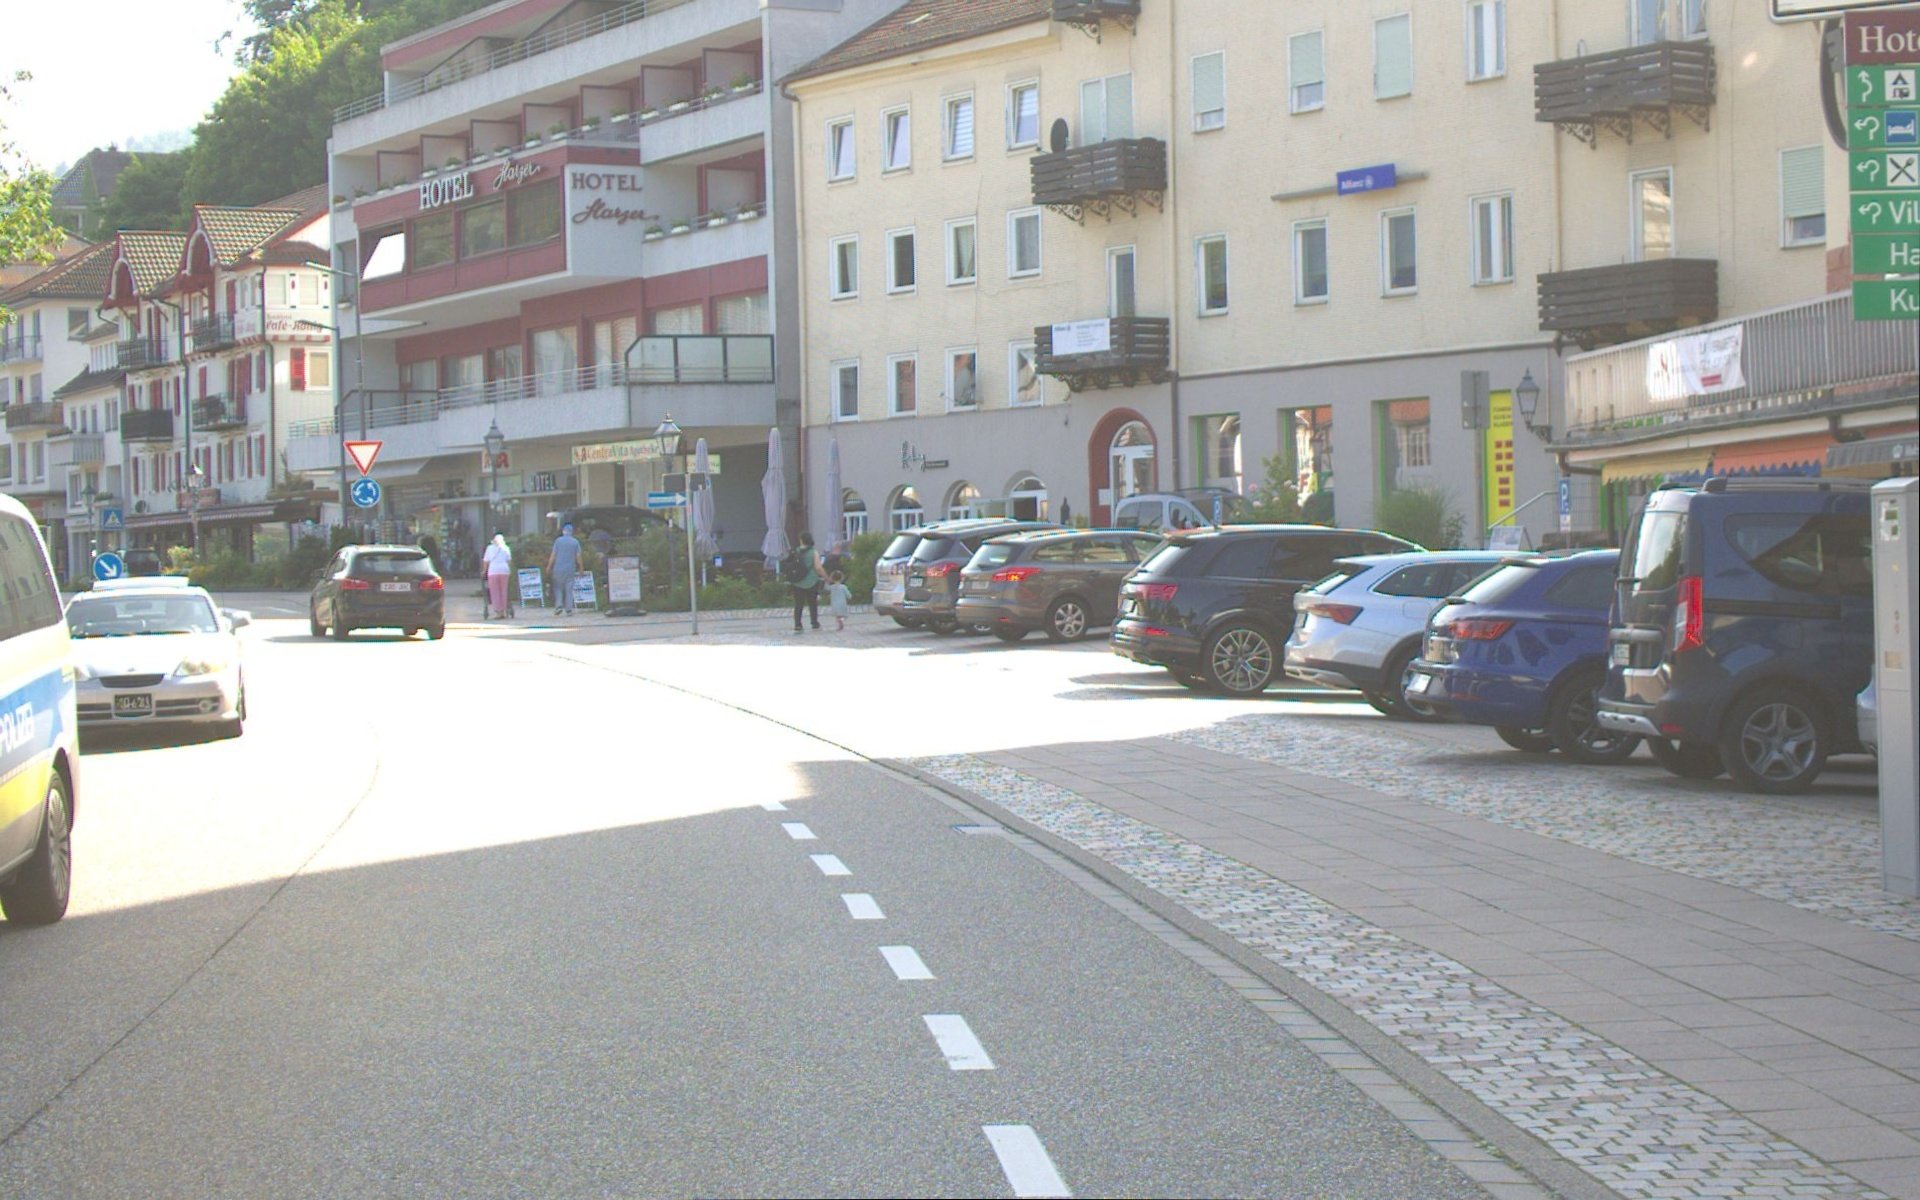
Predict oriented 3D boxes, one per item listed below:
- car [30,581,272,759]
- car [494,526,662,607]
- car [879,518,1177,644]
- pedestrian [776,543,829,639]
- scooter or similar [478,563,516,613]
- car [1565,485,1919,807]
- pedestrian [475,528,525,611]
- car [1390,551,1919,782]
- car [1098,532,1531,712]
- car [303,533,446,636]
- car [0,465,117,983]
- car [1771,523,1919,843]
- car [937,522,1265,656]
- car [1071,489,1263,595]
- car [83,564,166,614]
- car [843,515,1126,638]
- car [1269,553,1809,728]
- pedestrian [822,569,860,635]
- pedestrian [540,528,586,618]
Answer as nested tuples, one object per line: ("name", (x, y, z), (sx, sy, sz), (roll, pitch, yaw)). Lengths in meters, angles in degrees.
("car", (-7.105, 0.566, 30.510), (1.627, 1.366, 4.064), (-3, 1, -7))
("car", (-8.073, -0.711, 72.569), (3.163, 1.657, 1.595), (-1, 1, -25))
("car", (0.990, -0.307, 49.990), (3.860, 1.544, 1.773), (-4, 3, -24))
("pedestrian", (-2.454, -0.145, 53.754), (0.735, 1.437, 0.633), (-3, 1, -1))
("scooter or similar", (-8.936, -0.240, 66.350), (0.596, 0.947, 0.474), (-1, 1, -27))
("car", (5.825, 0.303, 20.707), (3.909, 1.798, 1.858), (2, 0, -4))
("pedestrian", (-8.858, -0.586, 66.185), (0.757, 1.588, 0.628), (-1, 1, -27))
("car", (5.040, 0.435, 23.377), (3.909, 1.456, 1.736), (1, 1, -4))
("car", (3.548, 0.211, 34.861), (4.083, 1.660, 1.773), (2, 0, -4))
("car", (-9.774, -0.287, 57.216), (1.727, 1.569, 3.754), (-1, 2, -19))
("car", (-4.554, 0.495, 12.878), (1.854, 1.946, 5.018), (-3, 1, -5))
("car", (6.458, 0.435, 18.023), (3.909, 1.583, 1.775), (1, 1, -4))
("car", (1.912, -0.180, 46.615), (4.009, 1.511, 1.773), (-4, 3, -24))
("car", (4.039, -1.172, 67.481), (1.857, 2.006, 3.677), (-1, 2, -35))
("car", (-27.882, -0.379, 114.670), (1.676, 1.615, 4.000), (-1, 1, -29))
("car", (0.377, -0.390, 52.703), (3.860, 1.607, 1.773), (-4, 3, -24))
("car", (4.970, 0.358, 29.887), (4.356, 1.456, 1.772), (0, -1, -2))
("pedestrian", (-1.862, 0.032, 53.706), (0.417, 0.998, 0.531), (-3, 1, 13))
("pedestrian", (-7.649, -0.517, 66.240), (0.668, 1.723, 0.707), (-1, 1, -27))
